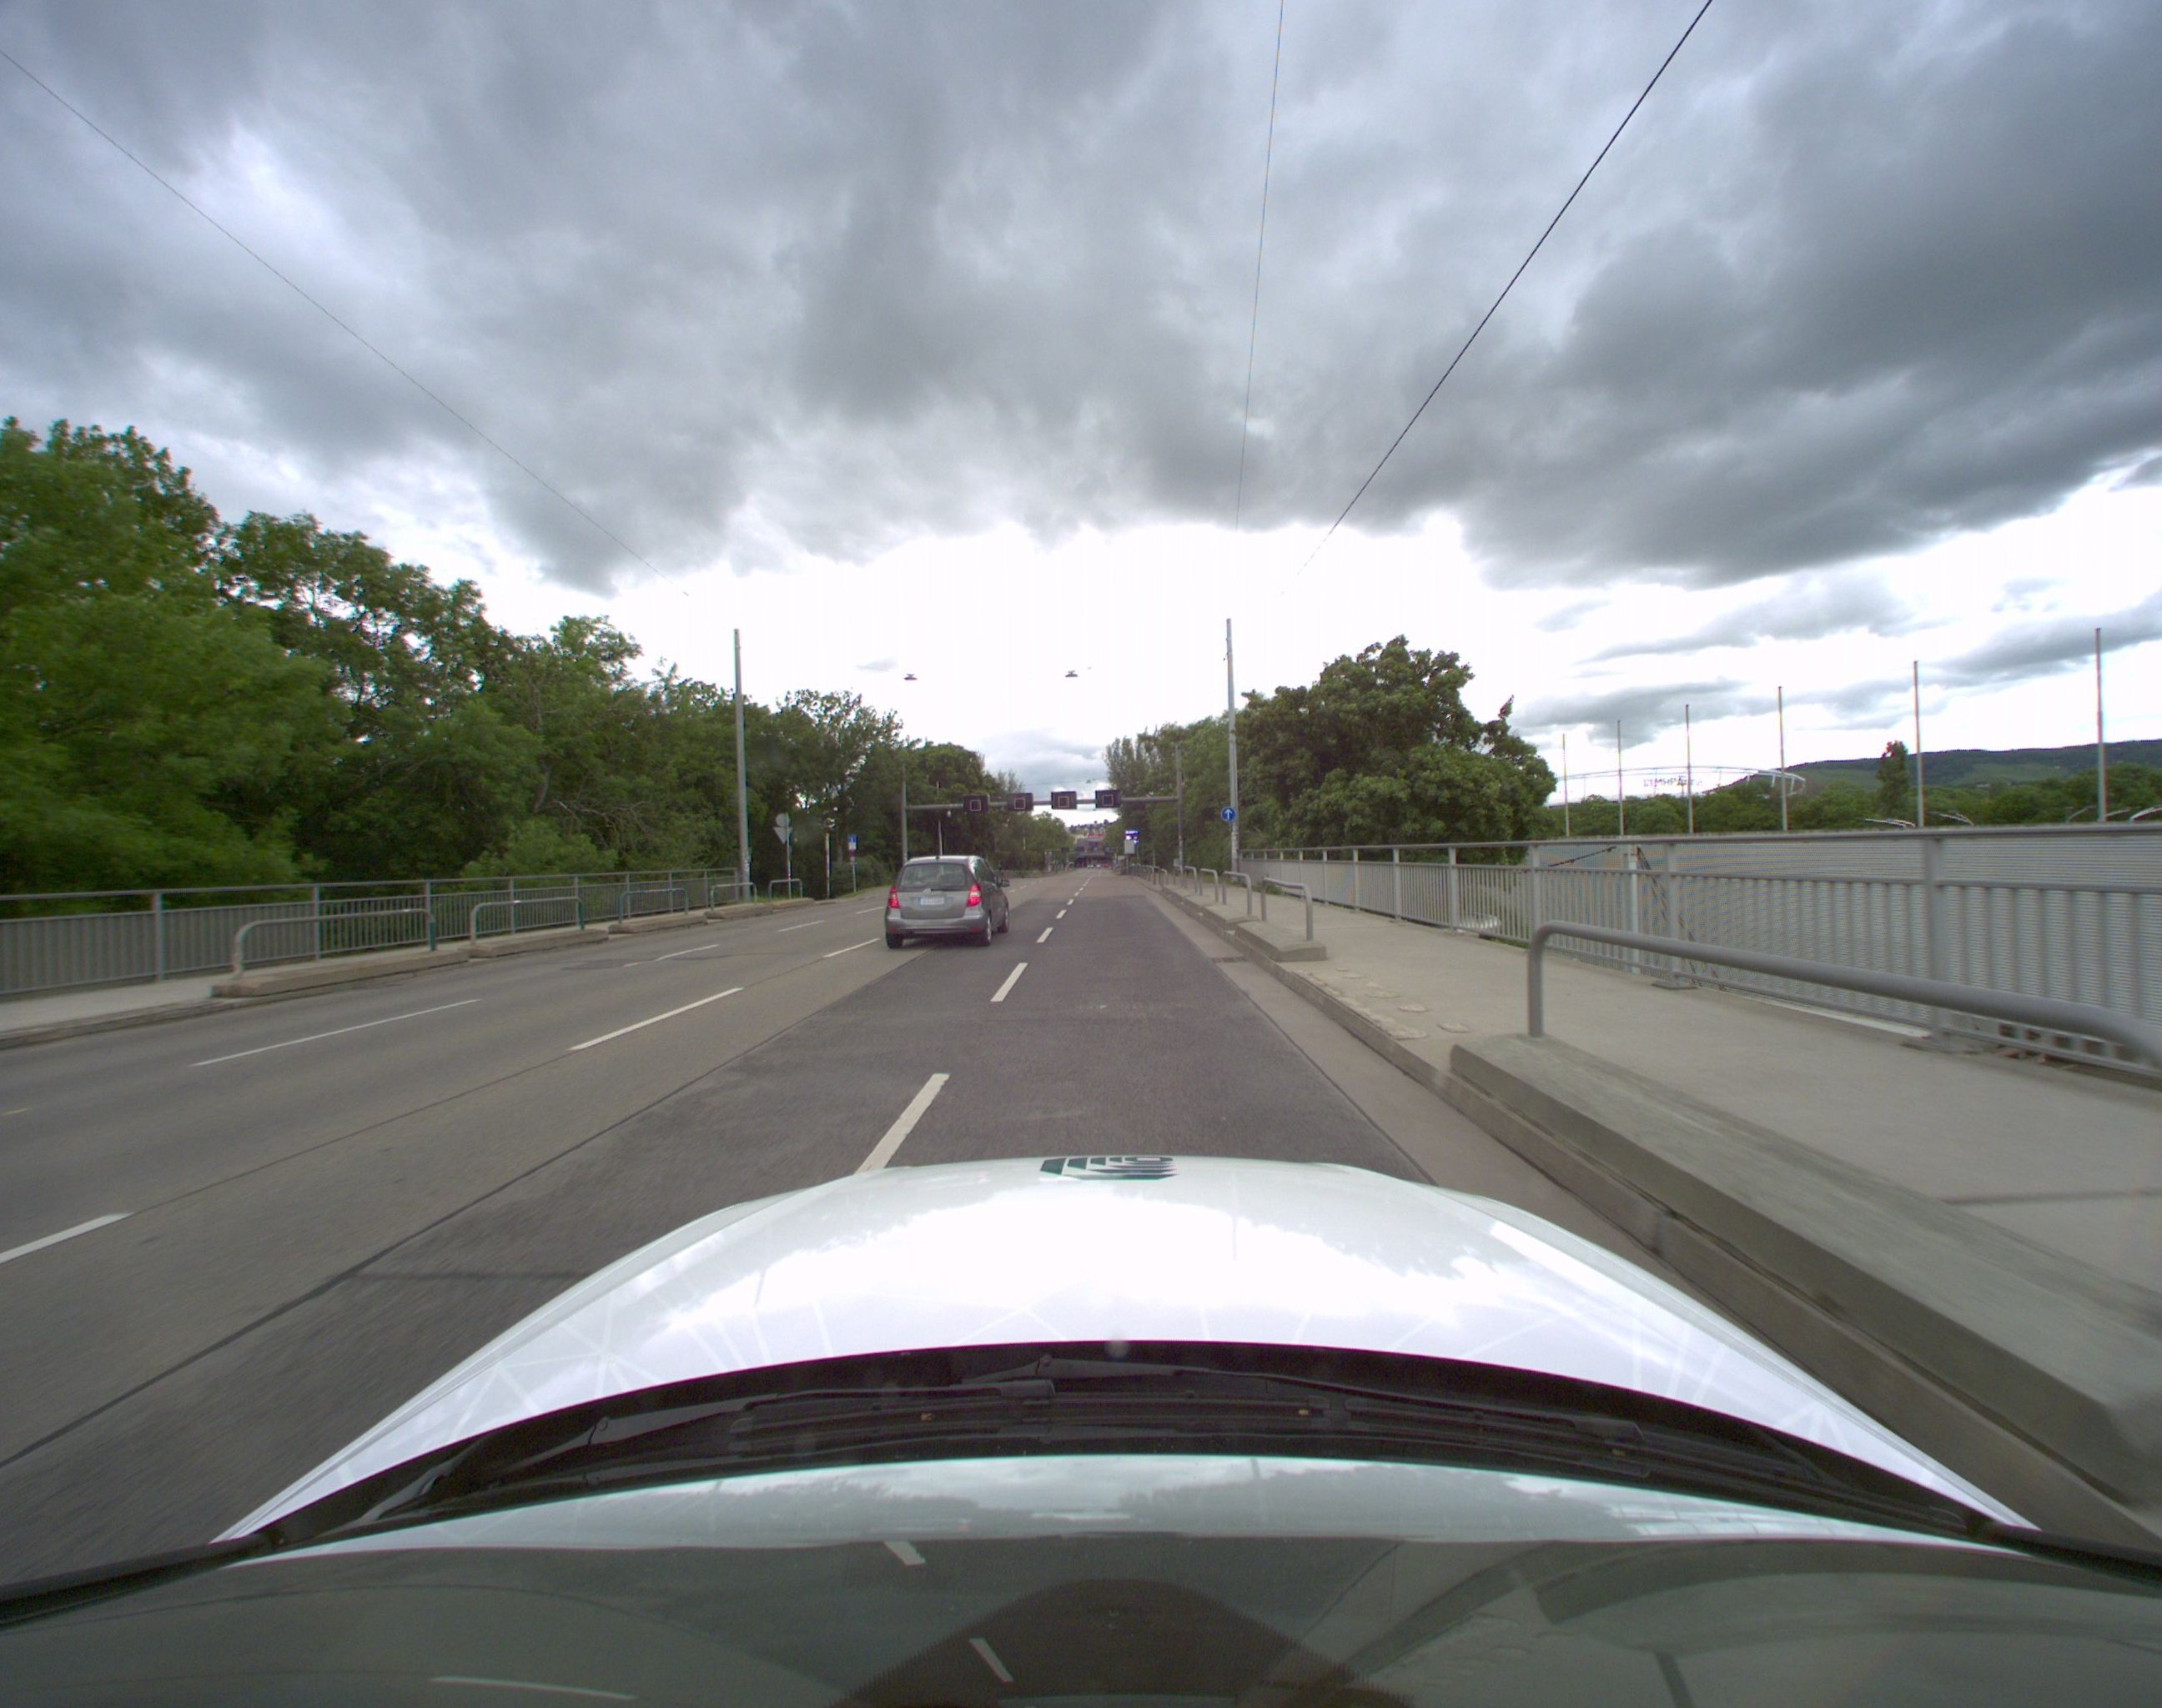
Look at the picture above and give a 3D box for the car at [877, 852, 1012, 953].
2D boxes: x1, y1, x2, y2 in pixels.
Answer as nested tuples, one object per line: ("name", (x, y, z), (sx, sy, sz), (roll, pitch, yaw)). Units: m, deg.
("car", (-2.368, 0.790, 15.122), (1.739, 1.550, 3.872), (-1, 1, 1))
